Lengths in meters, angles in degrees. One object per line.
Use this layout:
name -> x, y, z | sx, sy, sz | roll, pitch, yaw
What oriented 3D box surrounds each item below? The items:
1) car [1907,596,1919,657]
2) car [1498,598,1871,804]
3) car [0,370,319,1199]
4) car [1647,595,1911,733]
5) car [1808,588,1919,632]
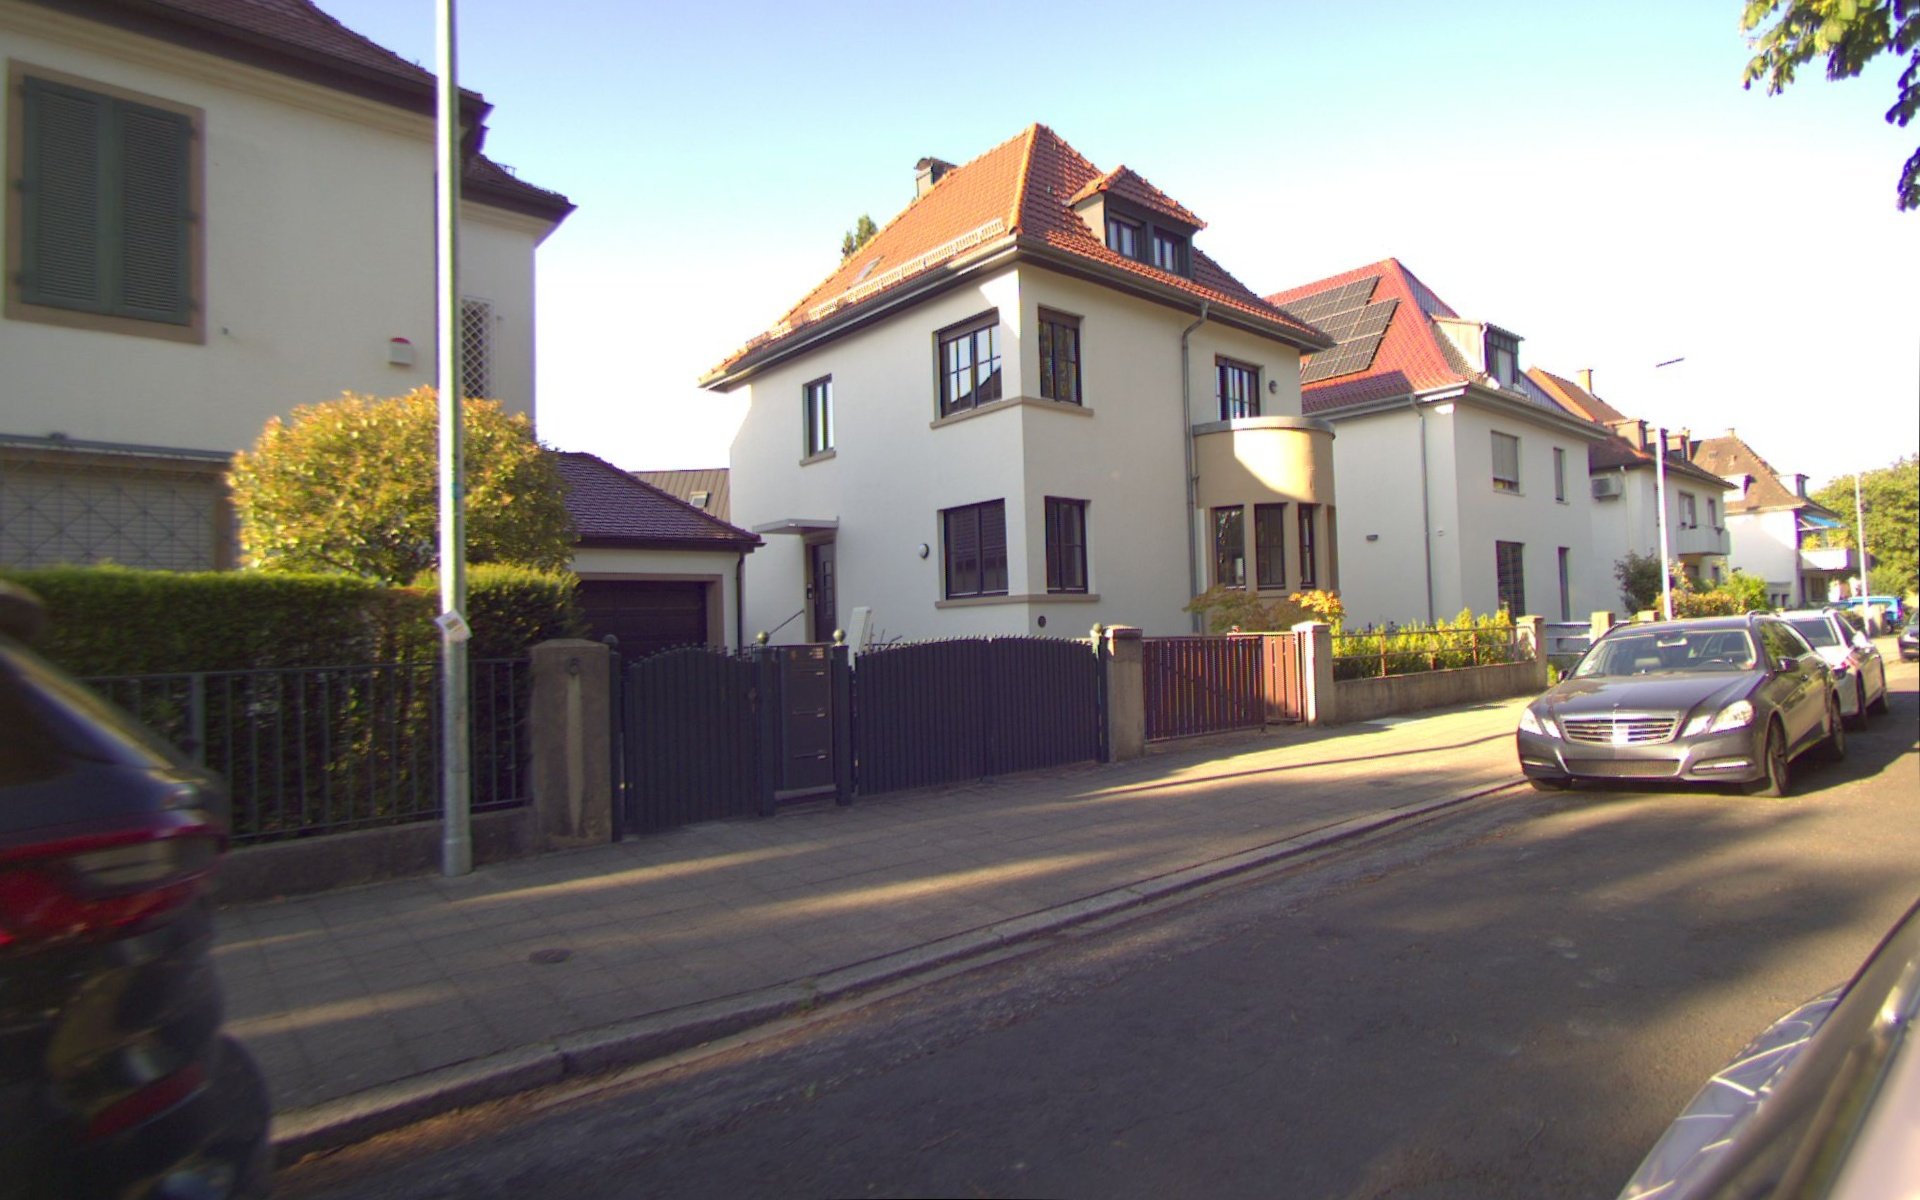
car -> 26.345, 0.595, 26.508 | 4.322, 1.519, 1.780 | 0, -6, -43
car -> 6.980, 0.806, 9.551 | 4.514, 1.482, 1.781 | 0, -5, -41
car -> -3.415, 0.632, 0.697 | 4.781, 1.760, 1.995 | 0, -3, -42
car -> 11.027, 0.797, 13.507 | 4.473, 1.483, 1.994 | 0, -7, -43
car -> 44.249, 0.515, 49.480 | 1.967, 1.953, 3.988 | 0, -3, -44
